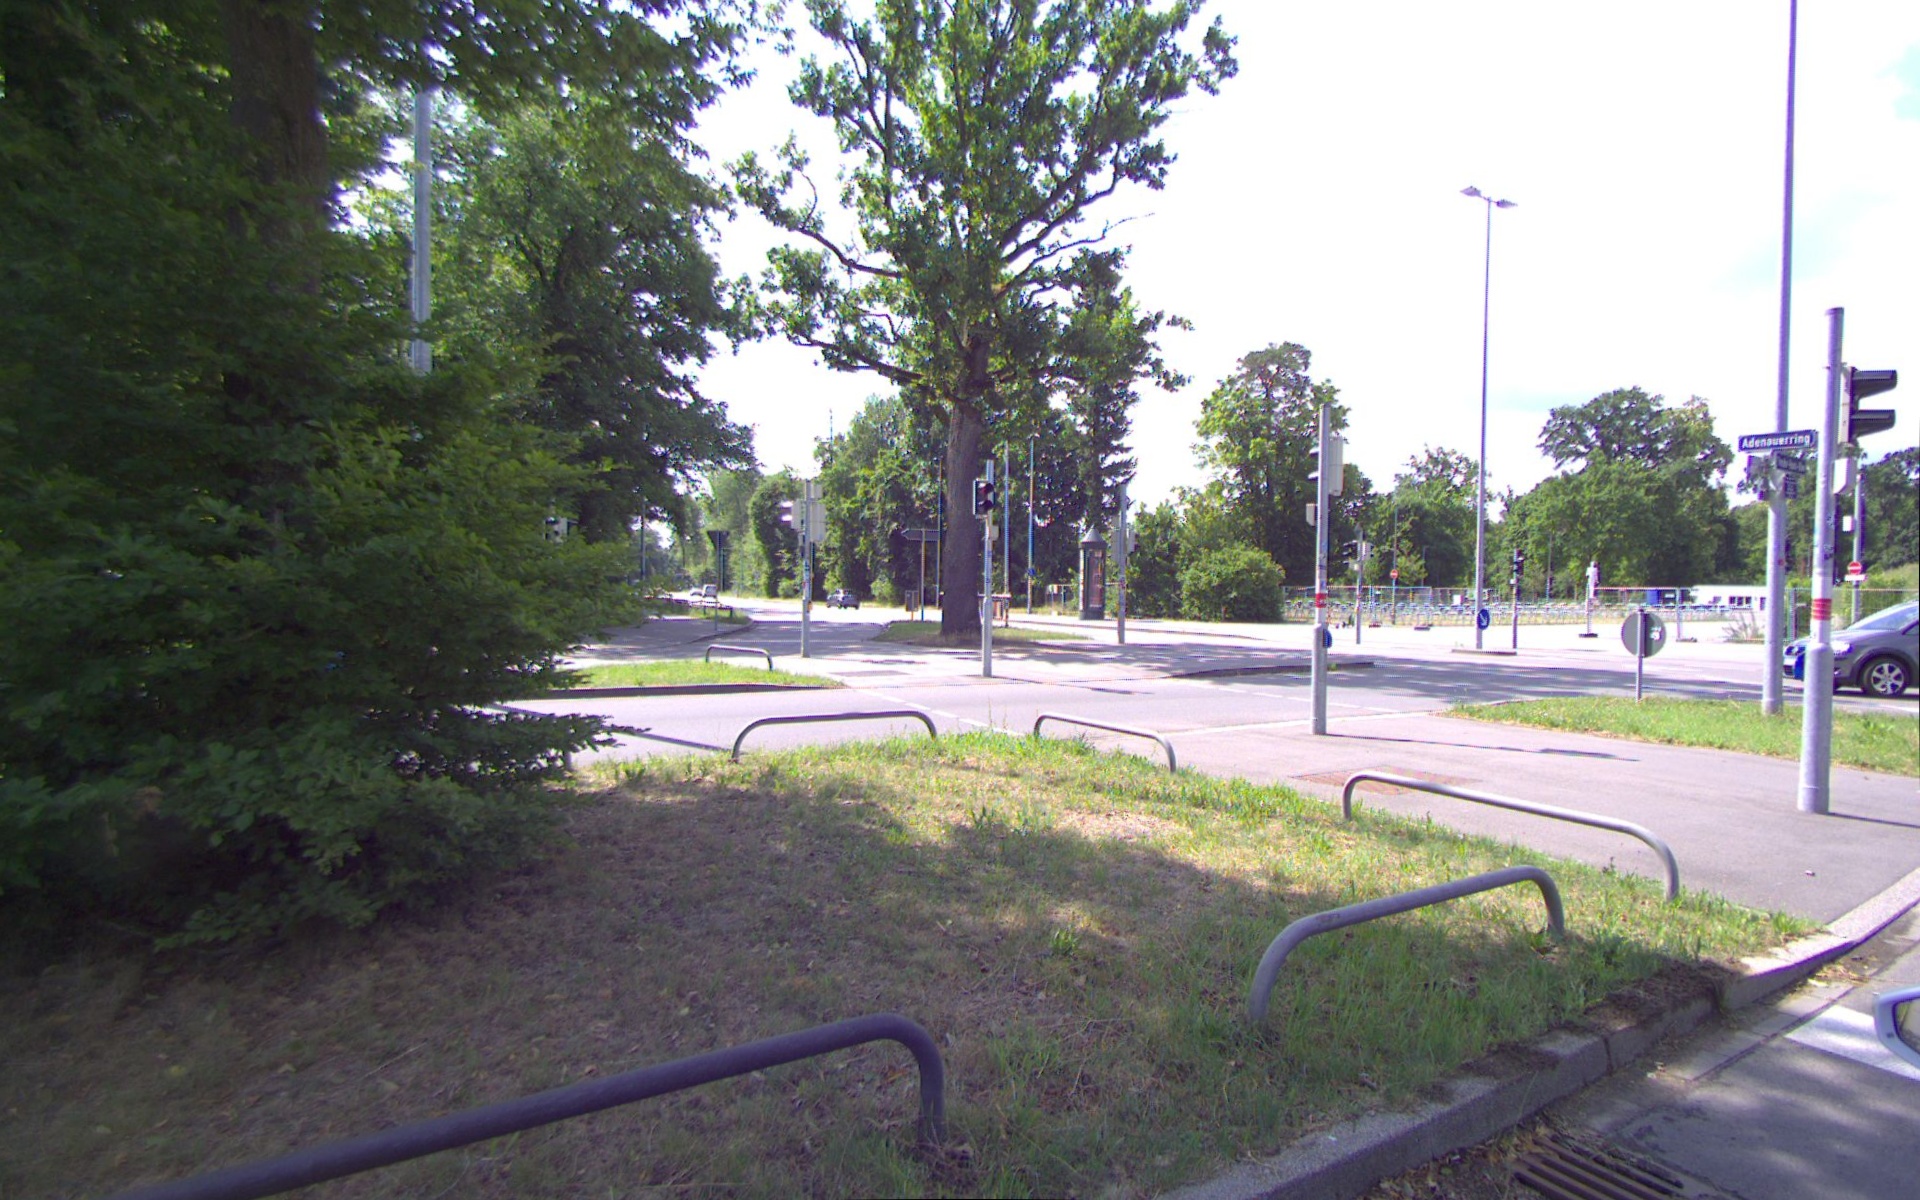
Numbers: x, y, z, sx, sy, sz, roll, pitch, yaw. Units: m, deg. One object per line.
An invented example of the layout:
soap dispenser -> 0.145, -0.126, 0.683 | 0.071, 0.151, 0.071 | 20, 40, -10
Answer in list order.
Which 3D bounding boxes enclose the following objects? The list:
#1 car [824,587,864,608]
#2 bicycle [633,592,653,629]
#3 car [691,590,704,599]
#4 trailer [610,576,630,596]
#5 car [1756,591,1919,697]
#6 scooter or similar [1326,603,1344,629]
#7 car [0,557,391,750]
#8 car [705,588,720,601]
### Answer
car -> -9.099, -0.198, 78.364 | 1.848, 1.529, 4.020 | 2, 0, -26
bicycle -> -10.470, 0.333, 33.195 | 0.413, 1.189, 1.228 | 2, 0, -8
car -> -45.546, -0.900, 174.017 | 1.810, 1.514, 4.088 | 2, 0, -20
trailer -> -42.557, -1.724, 125.704 | 1.972, 2.420, 3.976 | 2, 0, -24
car -> 15.942, 0.703, 16.427 | 4.212, 1.651, 1.767 | 1, 0, 16
scooter or similar -> 18.331, 0.777, 49.132 | 0.399, 1.216, 1.312 | 0, 1, 0
car -> -7.334, 0.411, 8.784 | 4.017, 1.466, 1.687 | 2, 2, -29
car -> -35.209, -0.763, 142.921 | 1.689, 1.714, 3.698 | 2, 0, -20
